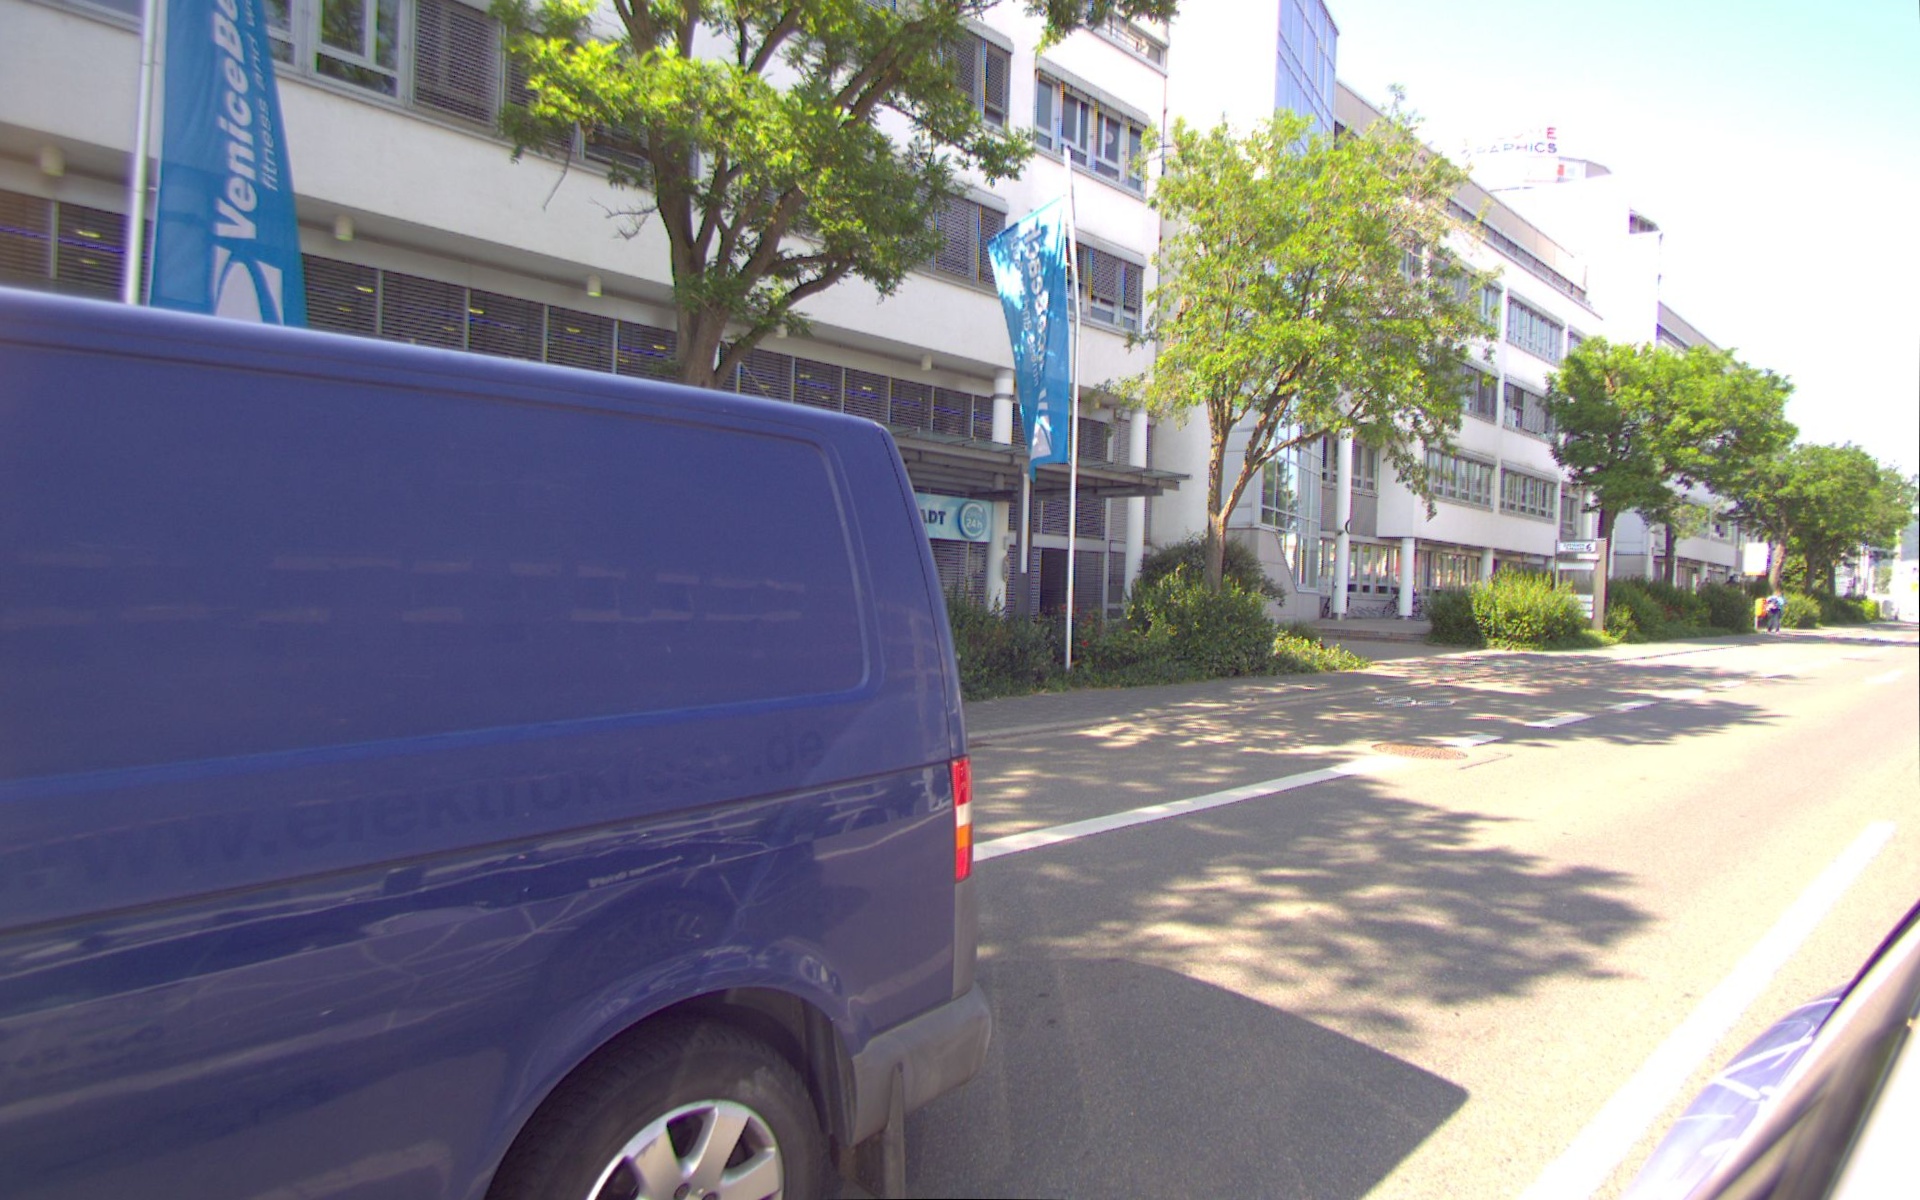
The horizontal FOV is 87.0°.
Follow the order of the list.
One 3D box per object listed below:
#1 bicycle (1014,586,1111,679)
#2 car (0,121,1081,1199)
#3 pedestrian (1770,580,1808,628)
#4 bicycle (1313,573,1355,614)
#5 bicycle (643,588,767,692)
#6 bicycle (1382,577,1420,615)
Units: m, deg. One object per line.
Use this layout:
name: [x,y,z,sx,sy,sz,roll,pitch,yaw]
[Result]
bicycle: [1.614,0.478,15.743,0.504,1.346,1.856,2,1,41]
car: [-2.176,0.407,1.592,4.806,1.972,1.997,-1,2,-41]
pedestrian: [35.184,0.159,42.949,1.267,1.909,0.942,0,4,-41]
bicycle: [12.899,-0.213,34.890,1.852,1.371,0.506,0,1,-41]
bicycle: [-3.638,0.537,14.377,1.868,1.346,0.501,2,1,30]
bicycle: [16.367,-0.145,37.538,1.852,1.371,0.506,0,1,-41]
